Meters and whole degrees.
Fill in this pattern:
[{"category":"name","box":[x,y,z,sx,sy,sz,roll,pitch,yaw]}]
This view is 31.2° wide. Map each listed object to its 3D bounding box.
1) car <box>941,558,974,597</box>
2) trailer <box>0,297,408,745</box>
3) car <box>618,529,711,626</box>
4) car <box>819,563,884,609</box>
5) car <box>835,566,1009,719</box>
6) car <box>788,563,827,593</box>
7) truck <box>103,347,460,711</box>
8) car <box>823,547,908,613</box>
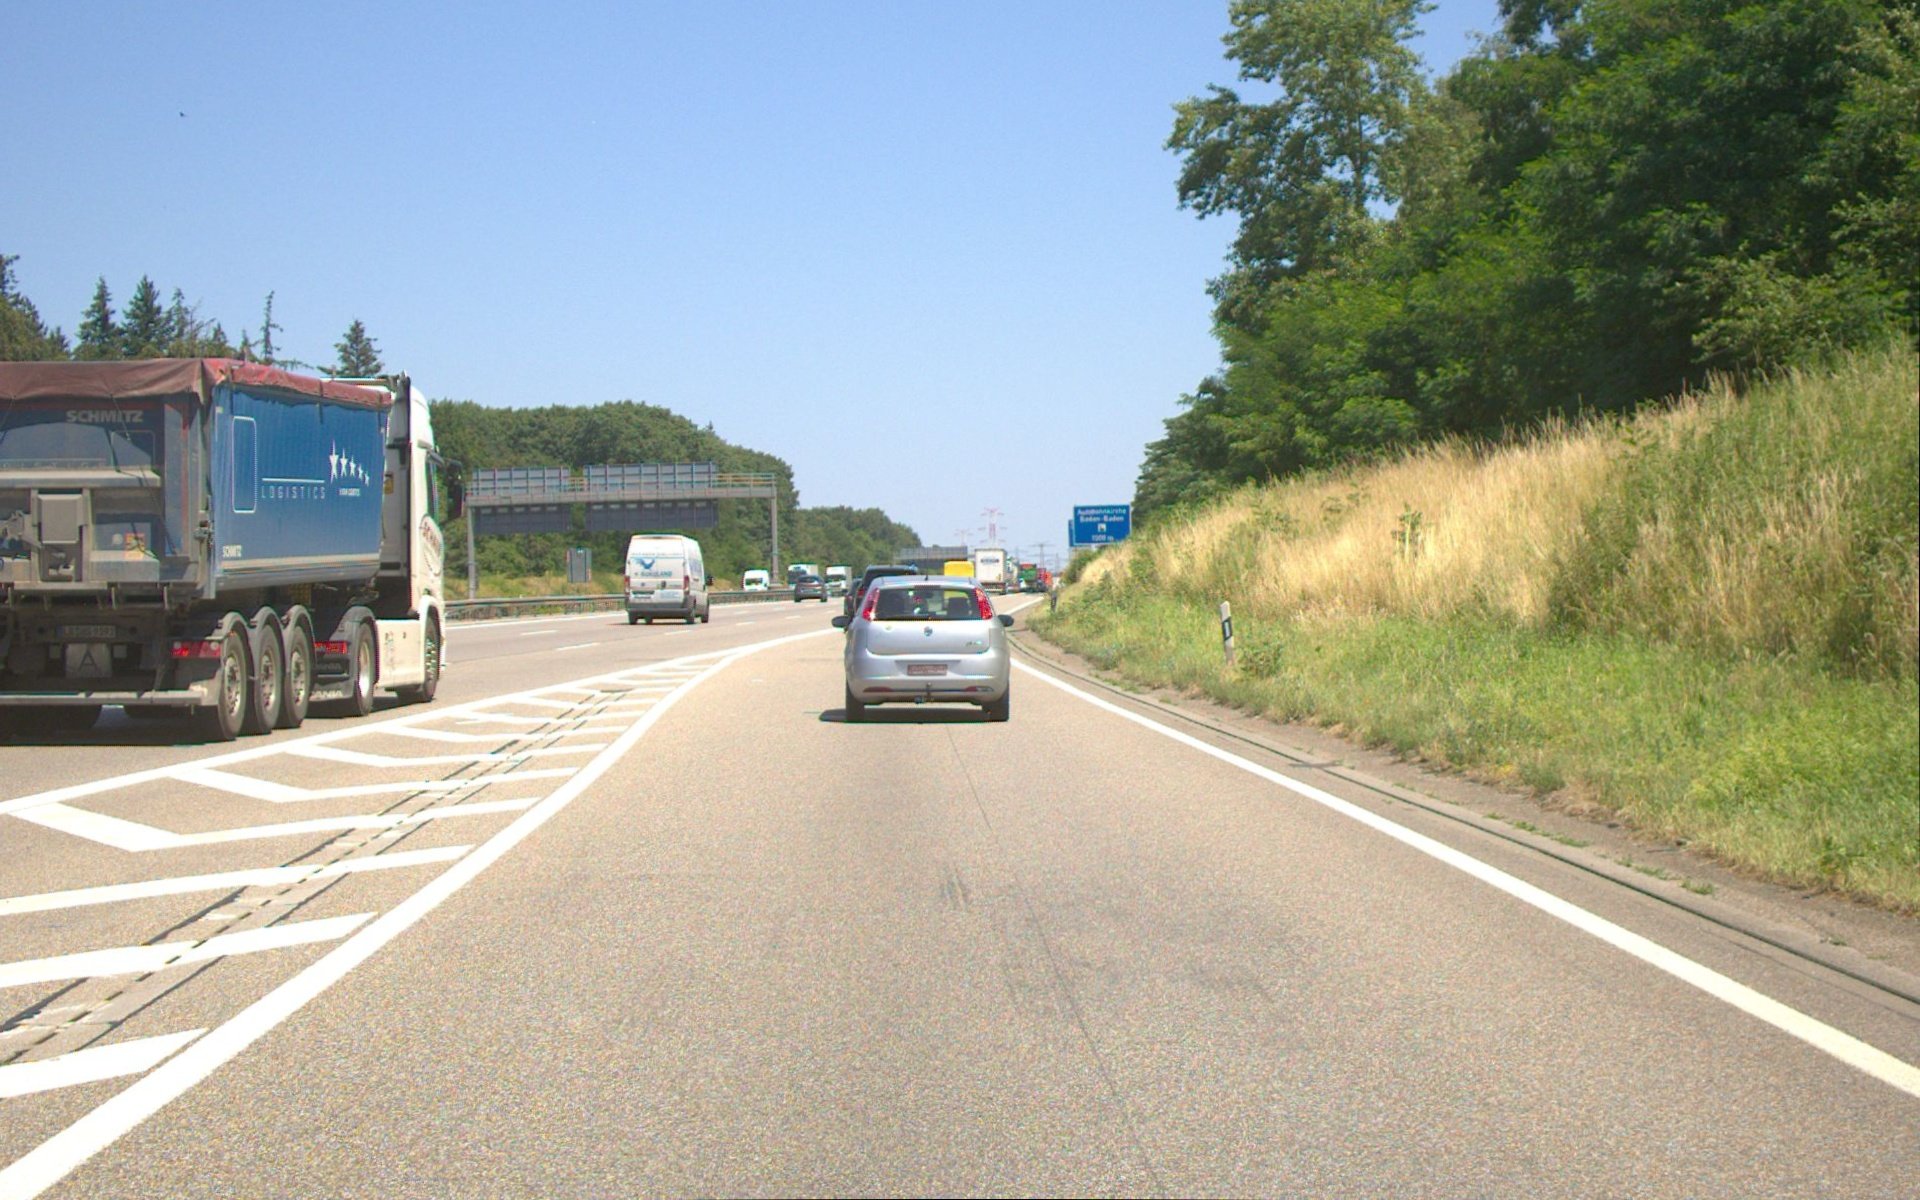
[{"category":"car","box":[-0.165,-1.164,178.604,1.611,2.007,4.000,1,0,-1]},{"category":"trailer","box":[-7.584,-0.722,33.464,2.737,3.746,9.109,0,1,1]},{"category":"car","box":[-9.266,-0.723,108.335,2.260,2.940,6.113,1,0,1]},{"category":"car","box":[-3.497,-0.472,111.913,1.894,1.464,4.261,1,1,1]},{"category":"car","box":[-0.372,0.400,35.812,1.719,1.486,3.737,0,1,0]},{"category":"car","box":[-9.333,-1.346,210.232,2.157,1.808,4.860,0,1,0]},{"category":"truck","box":[-7.461,-0.769,38.572,2.684,3.746,5.944,0,1,1]},{"category":"car","box":[-2.445,-0.519,89.887,1.832,1.666,3.999,1,0,4]}]
